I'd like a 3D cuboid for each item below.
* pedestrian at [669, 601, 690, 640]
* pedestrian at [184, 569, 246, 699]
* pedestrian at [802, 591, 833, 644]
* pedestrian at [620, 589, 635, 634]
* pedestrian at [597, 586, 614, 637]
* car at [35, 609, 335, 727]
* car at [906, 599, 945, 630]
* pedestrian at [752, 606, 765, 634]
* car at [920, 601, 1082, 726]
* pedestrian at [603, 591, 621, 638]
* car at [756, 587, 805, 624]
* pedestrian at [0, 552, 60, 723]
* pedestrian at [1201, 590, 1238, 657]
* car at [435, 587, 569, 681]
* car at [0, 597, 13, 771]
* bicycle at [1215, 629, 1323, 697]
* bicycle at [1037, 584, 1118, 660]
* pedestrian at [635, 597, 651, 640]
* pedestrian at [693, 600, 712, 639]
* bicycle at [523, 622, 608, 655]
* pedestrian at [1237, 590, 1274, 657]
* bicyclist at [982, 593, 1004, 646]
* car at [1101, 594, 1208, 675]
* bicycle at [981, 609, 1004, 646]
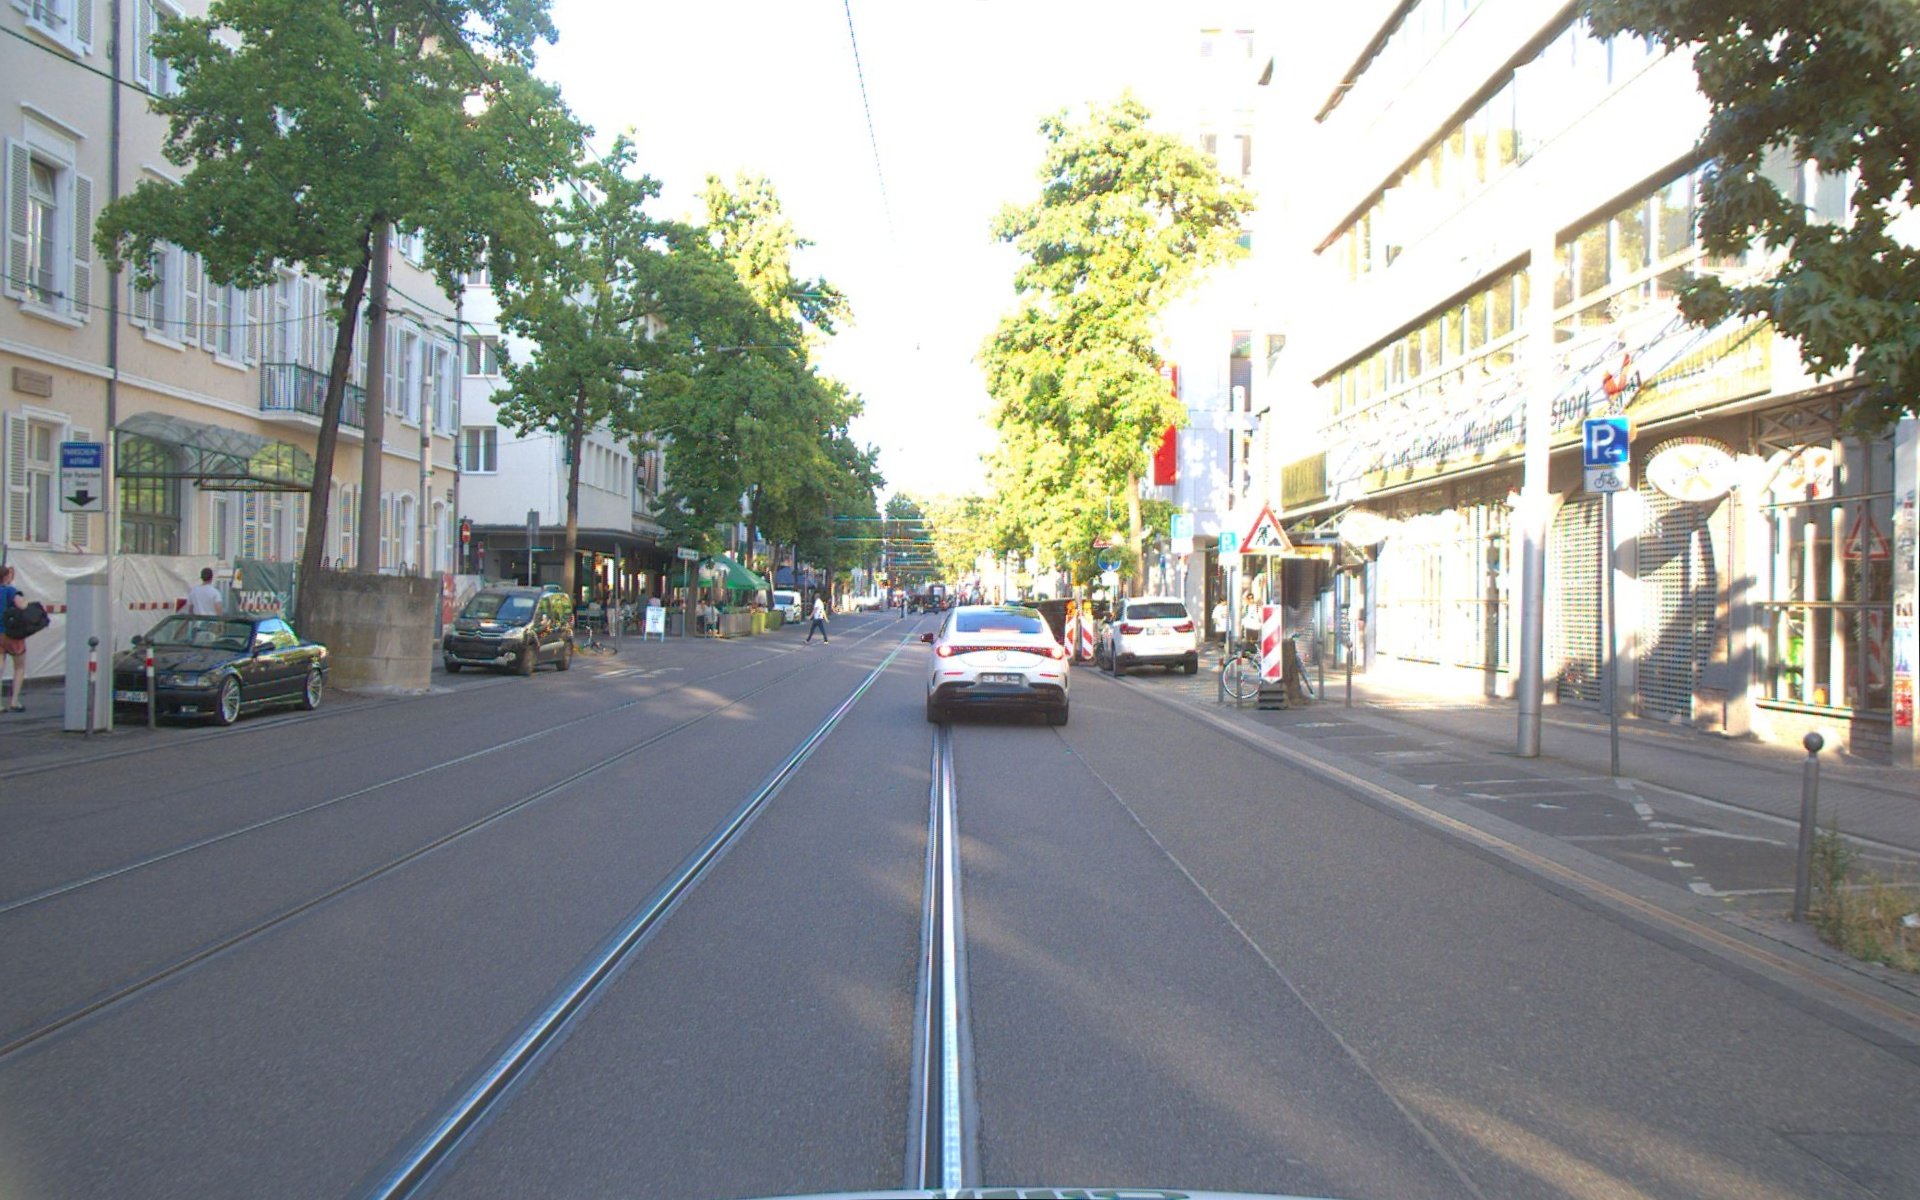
[{"bbox_3d":[-10.823,0.786,63.847,0.557,1.489,0.650,0,0,19],"label":"pedestrian"},{"bbox_3d":[-11.834,0.537,26.288,0.693,2.039,0.675,0,0,-4],"label":"pedestrian"},{"bbox_3d":[-4.921,0.588,57.169,0.904,1.805,0.870,1,0,-15],"label":"pedestrian"},{"bbox_3d":[-13.401,0.459,66.640,0.507,1.813,0.608,0,0,-7],"label":"pedestrian"},{"bbox_3d":[-13.240,0.414,61.803,0.506,1.888,0.650,0,0,-1],"label":"pedestrian"},{"bbox_3d":[-9.652,0.795,20.991,1.953,1.315,3.999,1,0,-1],"label":"car"},{"bbox_3d":[-3.626,1.549,174.080,3.957,3.169,8.429,0,0,-1],"label":"car"},{"bbox_3d":[-9.209,0.923,75.662,0.506,1.255,0.650,0,0,1],"label":"pedestrian"},{"bbox_3d":[0.444,0.774,21.989,1.831,1.494,4.040,0,0,-3],"label":"car"},{"bbox_3d":[-12.578,0.517,59.748,0.506,1.681,0.650,0,0,-2],"label":"pedestrian"},{"bbox_3d":[-10.457,0.314,96.589,1.951,2.049,4.003,0,0,7],"label":"car"},{"bbox_3d":[-11.468,0.447,20.091,0.693,2.039,0.675,0,0,-4],"label":"pedestrian"},{"bbox_3d":[7.069,0.626,45.035,0.785,1.805,0.680,1,0,-13],"label":"pedestrian"},{"bbox_3d":[-9.391,0.663,34.140,1.519,1.827,3.170,0,0,8],"label":"car"},{"bbox_3d":[-9.255,0.710,12.538,1.654,1.525,4.234,1,0,0],"label":"car"},{"bbox_3d":[5.075,1.034,27.207,1.686,1.080,0.581,0,0,2],"label":"bicycle"},{"bbox_3d":[3.288,0.621,46.824,1.953,2.049,3.999,0,-1,-1],"label":"bicycle"},{"bbox_3d":[-12.161,0.694,63.464,0.506,1.644,0.650,0,0,-2],"label":"pedestrian"},{"bbox_3d":[-10.155,0.784,65.262,0.511,1.504,0.644,-2,-1,-28],"label":"pedestrian"},{"bbox_3d":[-10.576,1.021,44.371,2.206,0.845,0.716,0,0,22],"label":"bicycle"},{"bbox_3d":[8.028,0.628,44.981,0.785,1.805,0.680,1,0,-13],"label":"pedestrian"},{"bbox_3d":[1.082,0.645,54.796,0.710,1.732,0.811,0,-1,0],"label":"bicyclist"},{"bbox_3d":[4.431,0.753,38.290,1.953,1.758,4.240,0,0,0],"label":"car"},{"bbox_3d":[1.077,0.894,54.966,0.725,1.209,2.160,0,-1,0],"label":"bicycle"}]
